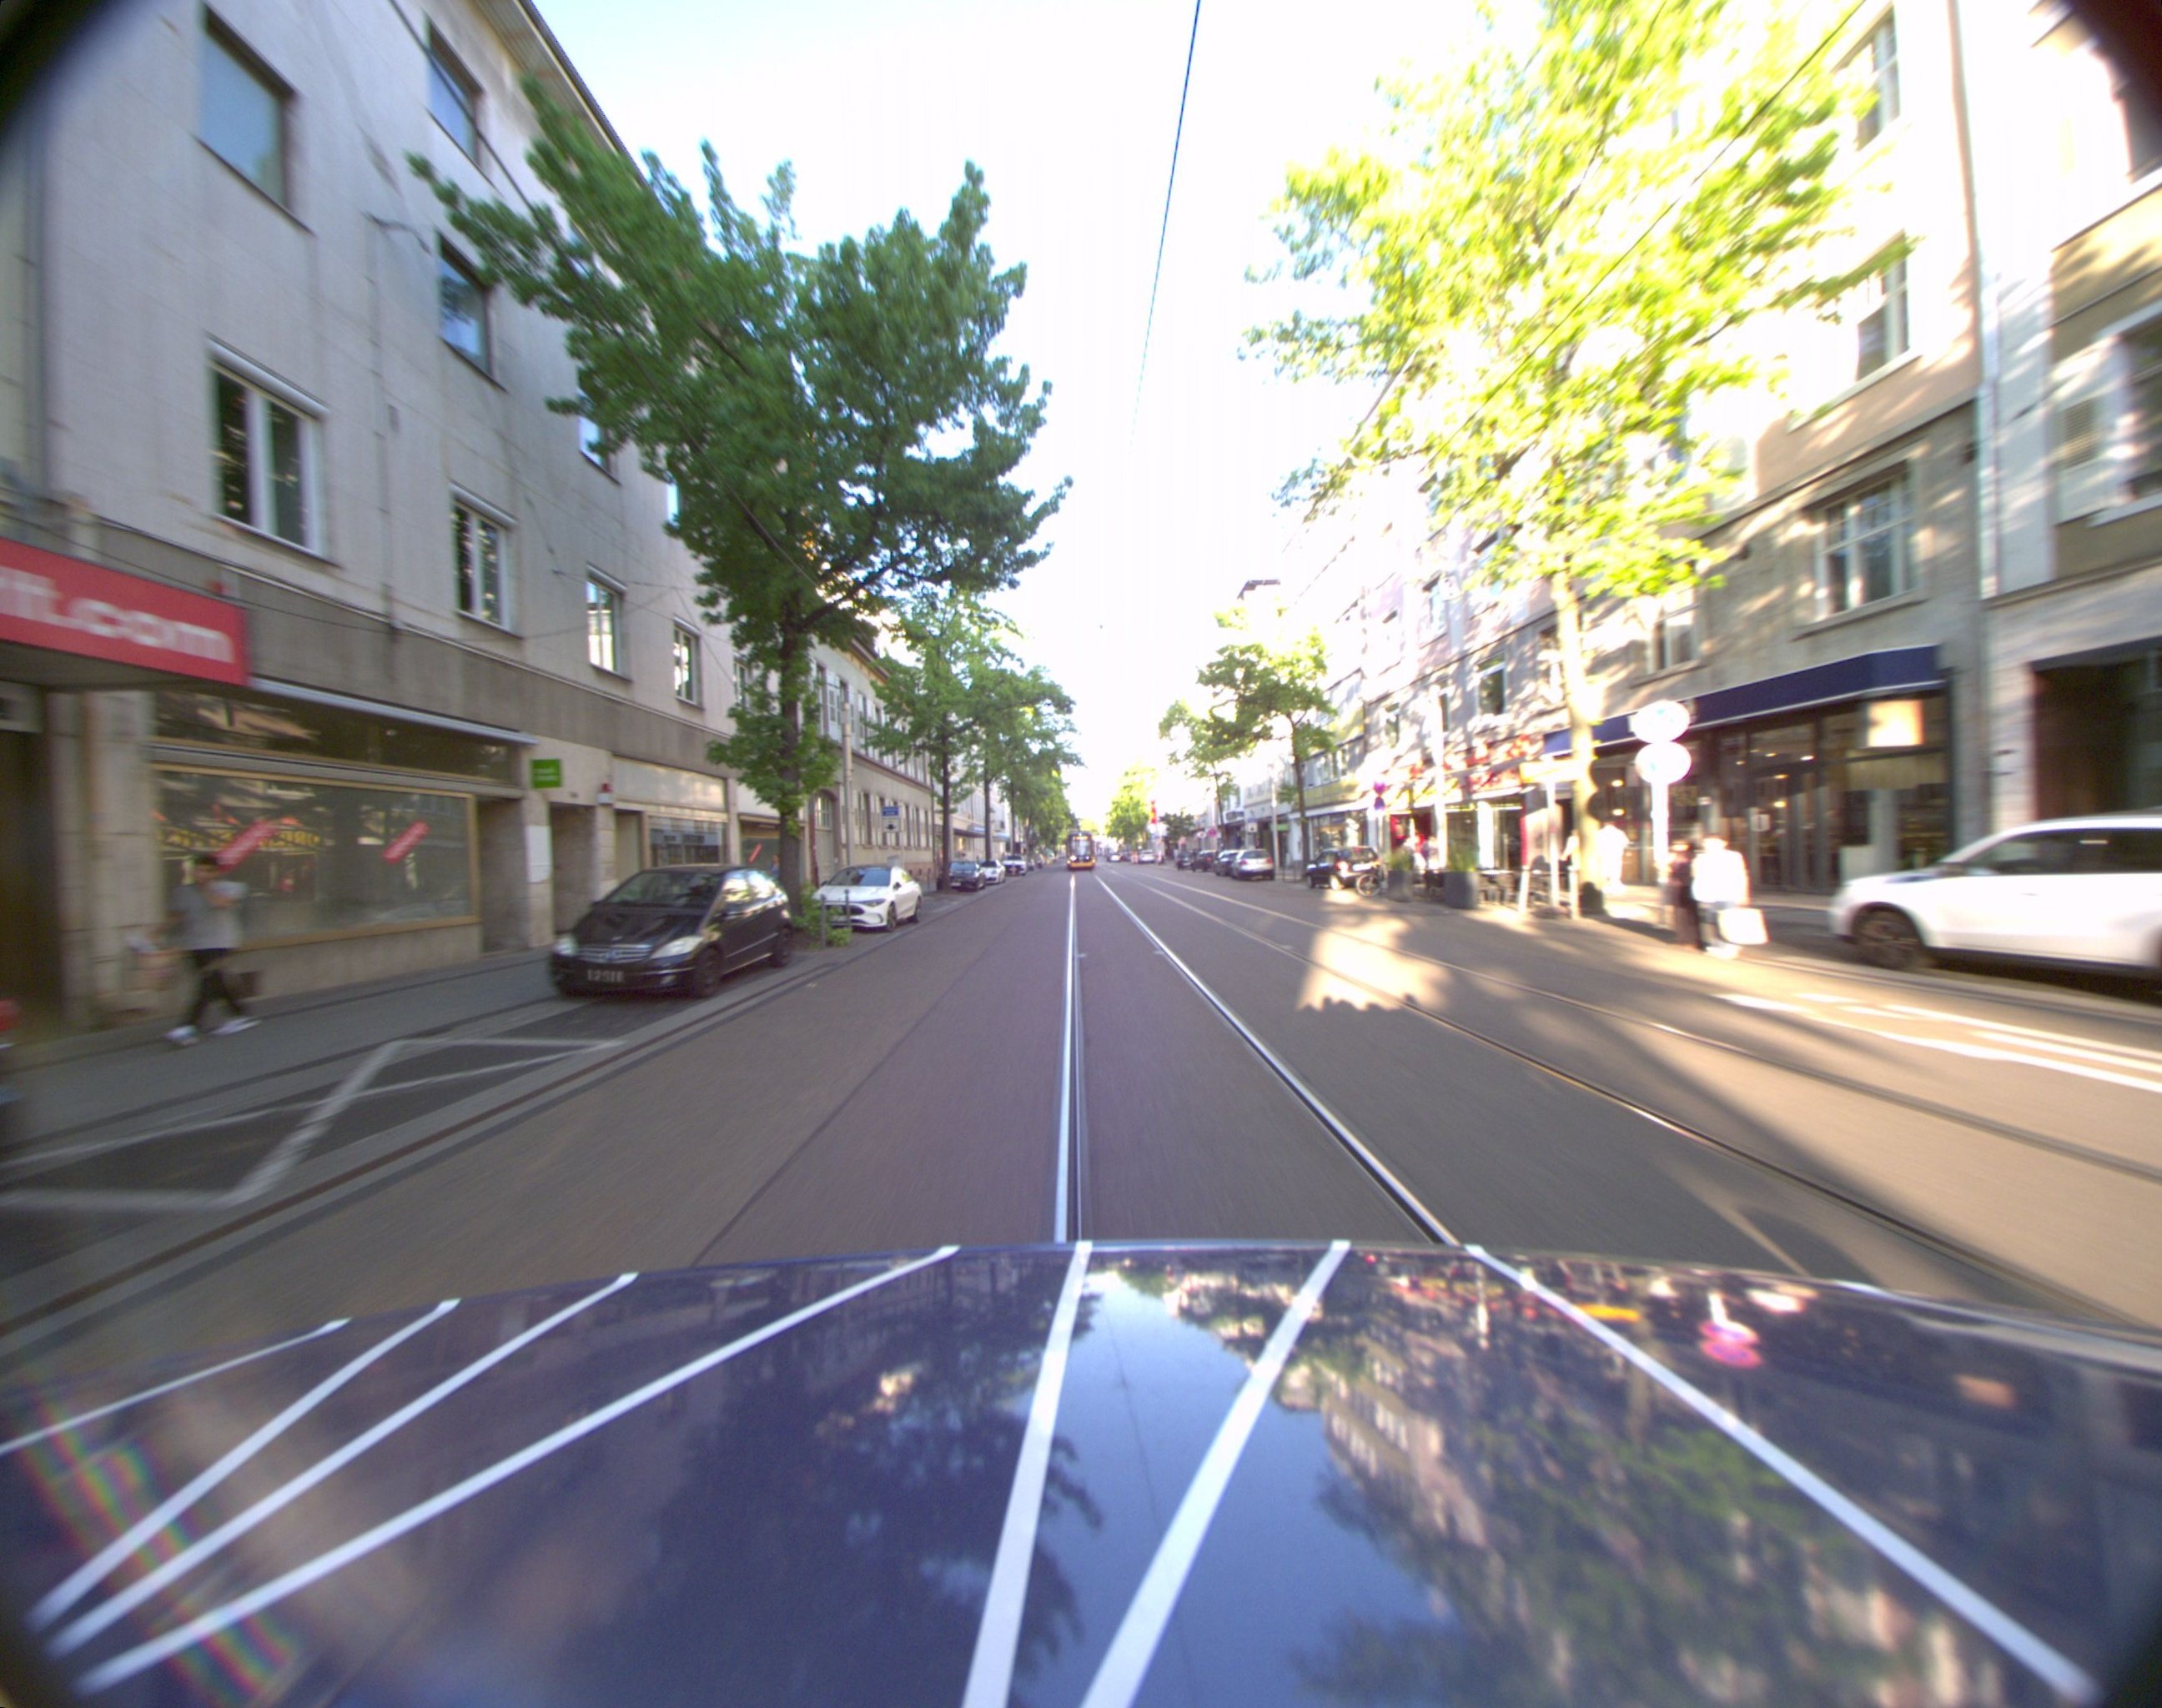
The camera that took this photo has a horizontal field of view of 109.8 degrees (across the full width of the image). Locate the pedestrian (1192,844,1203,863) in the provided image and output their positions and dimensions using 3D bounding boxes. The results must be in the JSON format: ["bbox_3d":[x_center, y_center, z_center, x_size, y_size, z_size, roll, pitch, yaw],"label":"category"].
[{"bbox_3d":[11.223,-0.059,73.344,0.853,1.756,0.832,-2,0,-3],"label":"pedestrian"}]

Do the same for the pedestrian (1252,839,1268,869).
[{"bbox_3d":[11.271,-0.026,47.764,0.661,1.815,0.878,-5,1,0],"label":"pedestrian"}]

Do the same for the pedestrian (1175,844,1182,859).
[{"bbox_3d":[11.318,-0.245,88.537,0.643,1.703,0.829,-3,1,3],"label":"pedestrian"}]

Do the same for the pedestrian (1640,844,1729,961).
[{"bbox_3d":[8.097,0.621,10.219,0.621,1.501,0.729,-2,2,0],"label":"pedestrian"}]

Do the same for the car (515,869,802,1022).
[{"bbox_3d":[-5.423,1.063,10.418,1.781,1.582,3.891,1,0,-1],"label":"car"}]

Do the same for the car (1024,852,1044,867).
[{"bbox_3d":[-5.842,0.692,94.049,1.956,1.782,4.316,-2,0,3],"label":"car"}]

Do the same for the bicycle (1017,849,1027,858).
[{"bbox_3d":[-6.781,-0.019,87.482,0.656,1.064,1.671,0,0,-19],"label":"bicycle"}]

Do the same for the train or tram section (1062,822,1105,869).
[{"bbox_3d":[0.193,-0.730,74.514,3.607,3.974,15.715,-2,0,0],"label":"train or tram section"}]

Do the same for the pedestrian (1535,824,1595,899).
[{"bbox_3d":[11.780,0.166,18.523,0.724,1.750,1.090,-2,1,0],"label":"pedestrian"}]

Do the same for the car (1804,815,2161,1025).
[{"bbox_3d":[9.565,0.503,6.970,1.841,1.571,4.116,-6,0,0],"label":"car"}]

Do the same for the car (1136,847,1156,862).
[{"bbox_3d":[8.399,0.067,98.326,1.999,1.744,4.744,-4,0,-1],"label":"car"}]

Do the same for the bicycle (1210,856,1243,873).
[{"bbox_3d":[9.090,0.636,47.510,1.975,0.995,0.330,-2,1,2],"label":"bicycle"}]

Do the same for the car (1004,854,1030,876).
[{"bbox_3d":[-5.196,0.851,62.300,2.003,1.678,4.965,0,1,-3],"label":"car"}]

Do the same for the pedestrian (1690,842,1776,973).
[{"bbox_3d":[8.063,0.637,9.415,0.522,1.560,0.633,-2,2,0],"label":"pedestrian"}]

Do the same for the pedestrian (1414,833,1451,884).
[{"bbox_3d":[12.110,0.150,26.178,0.791,1.683,0.913,-2,1,-1],"label":"pedestrian"}]

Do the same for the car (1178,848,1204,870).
[{"bbox_3d":[8.963,0.361,61.697,1.632,1.606,3.712,-4,0,15],"label":"car"}]

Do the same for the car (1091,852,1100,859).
[{"bbox_3d":[3.157,0.244,161.366,1.783,1.399,4.527,-2,0,0],"label":"car"}]

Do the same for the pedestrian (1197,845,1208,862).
[{"bbox_3d":[12.433,-0.073,77.729,0.834,1.685,1.037,-5,1,0],"label":"pedestrian"}]

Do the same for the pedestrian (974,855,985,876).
[{"bbox_3d":[-7.592,0.855,56.783,0.650,1.564,0.798,-2,1,0],"label":"pedestrian"}]

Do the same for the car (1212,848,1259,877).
[{"bbox_3d":[8.816,0.445,43.738,1.716,1.452,4.485,-4,0,0],"label":"car"}]

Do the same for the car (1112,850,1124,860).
[{"bbox_3d":[6.135,0.145,126.698,1.889,1.602,4.200,0,0,-1],"label":"car"}]

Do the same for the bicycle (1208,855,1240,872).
[{"bbox_3d":[9.261,0.608,49.204,1.975,0.995,0.330,-2,1,2],"label":"bicycle"}]

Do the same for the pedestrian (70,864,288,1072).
[{"bbox_3d":[-8.142,0.975,6.914,0.860,1.743,0.932,1,1,0],"label":"pedestrian"}]

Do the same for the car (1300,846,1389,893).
[{"bbox_3d":[9.186,0.502,26.801,1.670,1.420,3.826,-5,0,-1],"label":"car"}]

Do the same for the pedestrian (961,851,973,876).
[{"bbox_3d":[-8.598,0.723,57.461,0.715,1.876,1.053,-1,1,0],"label":"pedestrian"}]

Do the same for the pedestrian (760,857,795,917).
[{"bbox_3d":[-8.545,0.907,21.414,0.659,1.655,0.888,0,1,-1],"label":"pedestrian"}]

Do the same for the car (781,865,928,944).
[{"bbox_3d":[-5.073,1.068,17.773,1.998,1.489,4.679,1,0,0],"label":"car"}]

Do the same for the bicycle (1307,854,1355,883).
[{"bbox_3d":[10.193,0.591,30.971,1.815,1.059,0.440,-3,1,-8],"label":"bicycle"}]

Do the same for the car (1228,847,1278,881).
[{"bbox_3d":[8.397,0.460,37.393,1.771,1.488,4.175,-2,1,4],"label":"car"}]

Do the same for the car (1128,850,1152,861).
[{"bbox_3d":[9.759,0.179,125.960,3.403,1.551,1.786,-5,2,-23],"label":"car"}]

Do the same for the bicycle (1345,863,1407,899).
[{"bbox_3d":[8.808,0.803,22.720,1.619,0.960,0.433,-4,0,5],"label":"bicycle"}]

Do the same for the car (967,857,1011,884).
[{"bbox_3d":[-5.280,0.921,44.142,1.917,1.412,4.887,0,0,0],"label":"car"}]

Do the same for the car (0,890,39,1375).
[{"bbox_3d":[-4.847,0.993,0.481,1.943,1.749,4.679,1,0,0],"label":"car"}]

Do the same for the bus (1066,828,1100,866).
[{"bbox_3d":[0.185,-0.722,91.165,3.616,3.974,17.482,-2,0,0],"label":"bus"}]

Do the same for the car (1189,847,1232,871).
[{"bbox_3d":[9.043,0.353,53.524,1.797,1.481,4.240,-4,0,-6],"label":"car"}]

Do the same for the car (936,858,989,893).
[{"bbox_3d":[-5.494,0.951,35.781,1.838,1.469,4.761,0,0,-1],"label":"car"}]

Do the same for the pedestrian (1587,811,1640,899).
[{"bbox_3d":[12.466,0.026,17.808,0.724,2.002,0.642,-2,1,0],"label":"pedestrian"}]

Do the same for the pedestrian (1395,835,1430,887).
[{"bbox_3d":[11.254,0.234,25.809,0.846,1.683,0.740,-2,1,-1],"label":"pedestrian"}]

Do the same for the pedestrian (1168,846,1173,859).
[{"bbox_3d":[14.092,-0.271,120.129,0.616,2.002,0.592,-2,0,-2],"label":"pedestrian"}]
